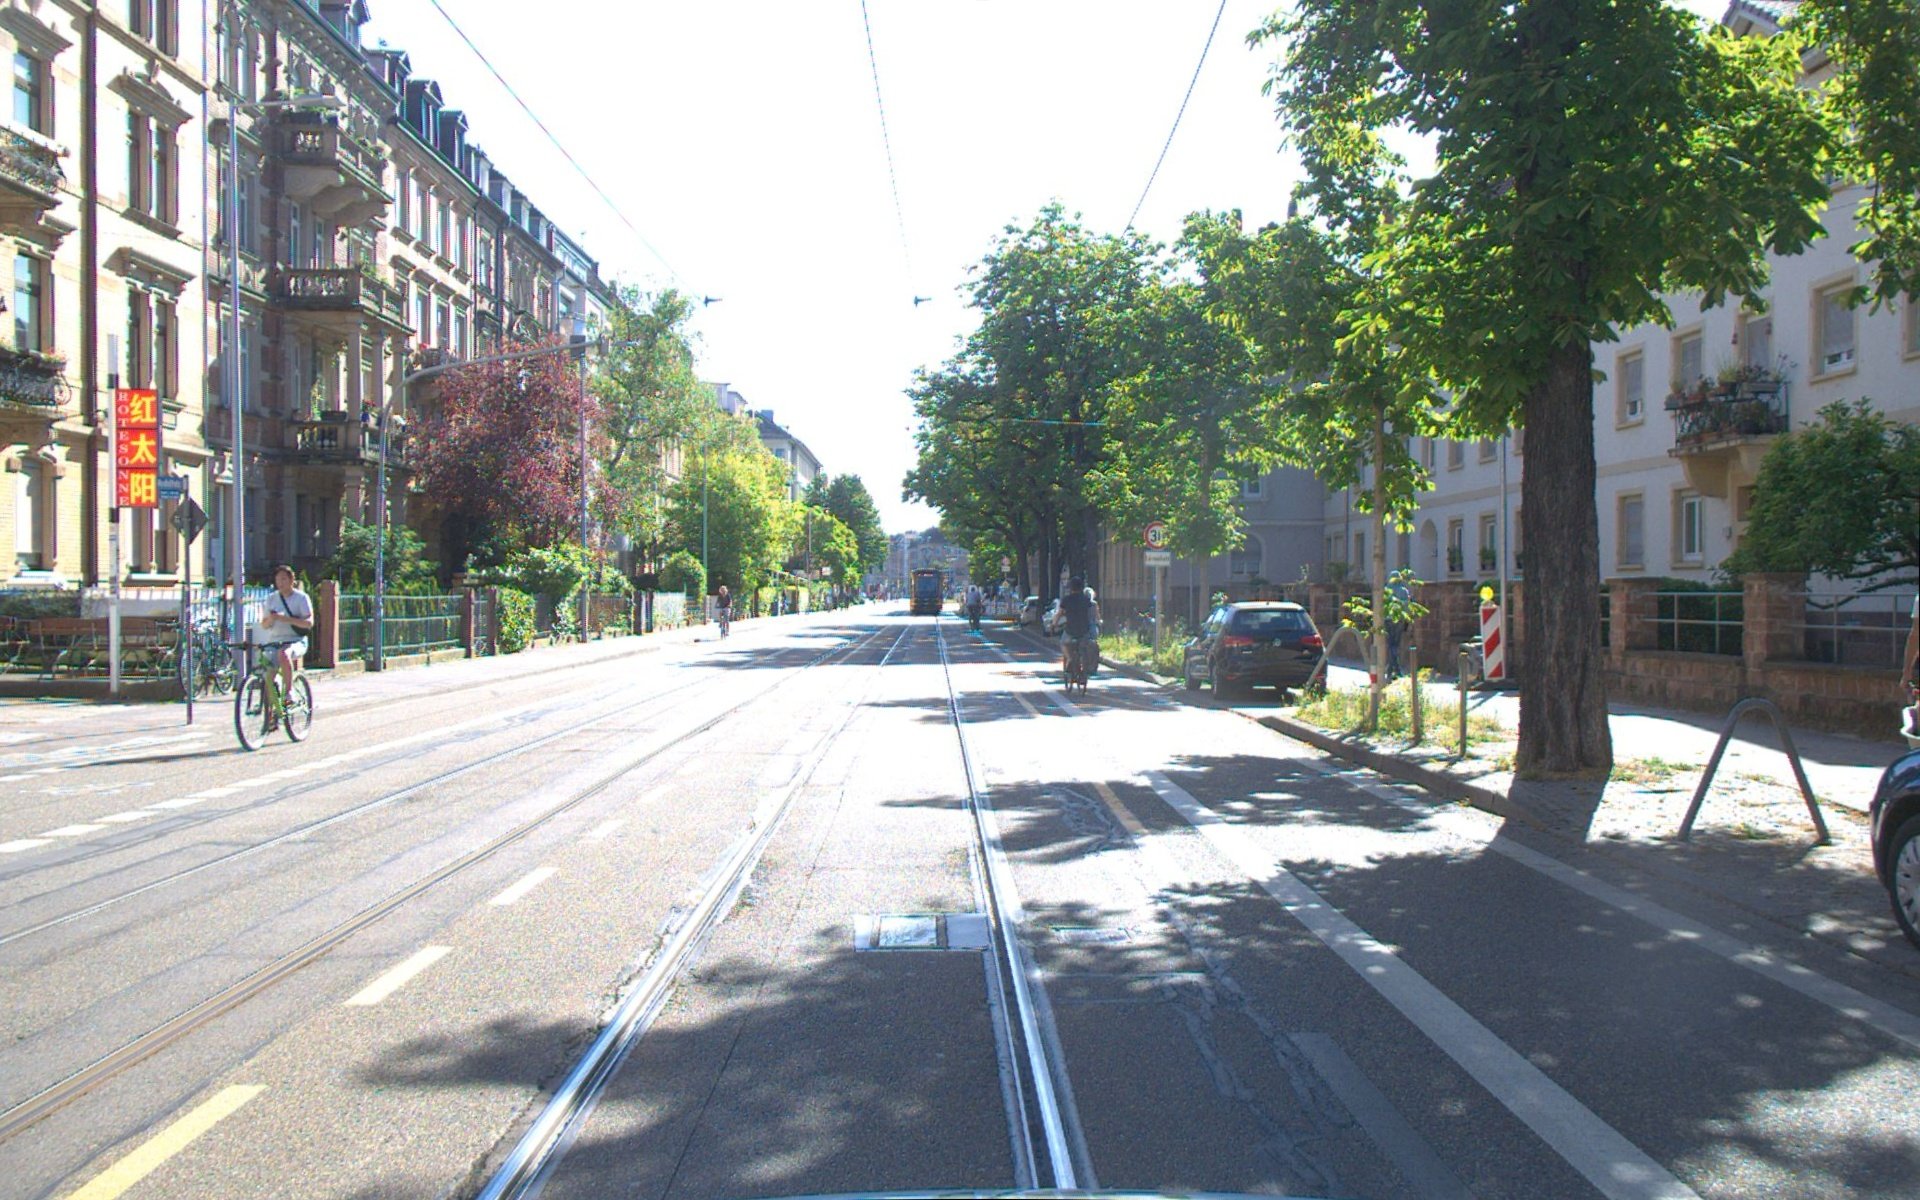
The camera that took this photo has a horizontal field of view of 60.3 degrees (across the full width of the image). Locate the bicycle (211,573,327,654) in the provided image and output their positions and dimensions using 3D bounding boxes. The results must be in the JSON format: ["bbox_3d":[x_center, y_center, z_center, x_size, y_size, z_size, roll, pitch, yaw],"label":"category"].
[{"bbox_3d":[-12.081,0.239,28.964,1.730,1.343,0.612,2,0,-11],"label":"bicycle"}]

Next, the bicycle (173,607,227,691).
[{"bbox_3d":[-10.803,0.685,23.521,0.363,1.146,0.808,2,0,-1],"label":"bicycle"}]

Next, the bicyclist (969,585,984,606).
[{"bbox_3d":[1.074,-0.297,108.152,0.756,1.314,0.734,2,0,15],"label":"bicyclist"}]

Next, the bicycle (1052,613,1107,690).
[{"bbox_3d":[1.868,0.784,25.958,0.678,1.132,1.718,2,0,-1],"label":"bicycle"}]

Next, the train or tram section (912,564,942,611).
[{"bbox_3d":[-2.594,-0.980,129.344,2.110,3.491,6.609,2,0,-1],"label":"train or tram section"}]

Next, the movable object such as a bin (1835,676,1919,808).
[{"bbox_3d":[6.265,0.907,10.723,0.912,0.756,0.660,-3,0,-32],"label":"movable object such as a bin"}]

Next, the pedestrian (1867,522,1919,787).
[{"bbox_3d":[6.839,0.360,11.303,0.593,1.802,0.903,-2,0,-31],"label":"pedestrian"}]

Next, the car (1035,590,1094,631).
[{"bbox_3d":[3.878,0.355,61.827,1.596,1.461,4.661,0,0,-4],"label":"car"}]

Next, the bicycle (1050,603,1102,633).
[{"bbox_3d":[4.139,0.641,59.100,1.756,1.037,0.620,-2,0,-2],"label":"bicycle"}]

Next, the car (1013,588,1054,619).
[{"bbox_3d":[3.535,0.164,80.549,1.713,1.445,3.999,0,0,-2],"label":"car"}]

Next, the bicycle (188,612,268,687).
[{"bbox_3d":[-10.600,0.699,23.999,0.328,1.018,1.869,2,0,-1],"label":"bicycle"}]

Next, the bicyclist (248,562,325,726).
[{"bbox_3d":[-6.941,0.445,17.070,0.455,1.647,0.744,-1,0,-1],"label":"bicyclist"}]

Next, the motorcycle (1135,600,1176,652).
[{"bbox_3d":[4.805,0.624,40.772,0.486,1.211,1.858,-3,1,-8],"label":"motorcycle"}]

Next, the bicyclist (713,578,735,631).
[{"bbox_3d":[-8.200,0.151,57.571,0.647,1.833,0.615,-1,-1,-1],"label":"bicyclist"}]

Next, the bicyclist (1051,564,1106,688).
[{"bbox_3d":[1.846,0.403,25.780,0.713,1.880,0.836,2,0,-2],"label":"bicyclist"}]

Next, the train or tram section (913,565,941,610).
[{"bbox_3d":[-2.739,-1.000,135.981,2.110,3.491,6.609,2,0,-1],"label":"train or tram section"}]

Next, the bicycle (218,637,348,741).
[{"bbox_3d":[-6.930,0.879,17.033,0.451,0.942,2.202,-1,0,-1],"label":"bicycle"}]

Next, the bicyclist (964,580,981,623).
[{"bbox_3d":[0.542,0.055,70.728,0.632,1.827,0.955,2,0,-1],"label":"bicyclist"}]

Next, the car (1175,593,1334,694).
[{"bbox_3d":[4.625,0.642,26.506,1.751,1.489,4.043,0,0,-1],"label":"car"}]

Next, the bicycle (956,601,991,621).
[{"bbox_3d":[0.901,0.724,108.209,2.094,1.191,0.803,2,0,14],"label":"bicycle"}]

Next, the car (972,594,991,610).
[{"bbox_3d":[2.083,0.201,163.464,1.719,1.579,3.676,2,0,-1],"label":"car"}]

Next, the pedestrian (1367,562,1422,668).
[{"bbox_3d":[7.389,0.249,28.107,0.748,1.754,0.579,2,0,28],"label":"pedestrian"}]

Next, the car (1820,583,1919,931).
[{"bbox_3d":[5.033,0.677,5.802,1.685,1.499,4.244,-1,0,-3],"label":"car"}]

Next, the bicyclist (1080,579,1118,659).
[{"bbox_3d":[2.641,0.360,31.419,0.622,1.494,0.616,2,0,-1],"label":"bicyclist"}]

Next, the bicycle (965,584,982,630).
[{"bbox_3d":[0.585,0.297,71.222,0.649,1.891,2.260,2,0,0],"label":"bicycle"}]

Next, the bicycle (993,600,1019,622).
[{"bbox_3d":[2.396,0.574,85.610,1.243,1.042,0.704,2,-1,7],"label":"bicycle"}]

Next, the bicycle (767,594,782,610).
[{"bbox_3d":[-12.397,0.129,110.563,0.623,1.088,1.823,2,0,-18],"label":"bicycle"}]

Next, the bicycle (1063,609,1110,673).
[{"bbox_3d":[2.383,0.761,31.260,0.678,1.132,1.917,2,0,-1],"label":"bicycle"}]

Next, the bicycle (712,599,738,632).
[{"bbox_3d":[-8.192,0.526,57.737,0.677,1.132,1.718,-1,0,-1],"label":"bicycle"}]
